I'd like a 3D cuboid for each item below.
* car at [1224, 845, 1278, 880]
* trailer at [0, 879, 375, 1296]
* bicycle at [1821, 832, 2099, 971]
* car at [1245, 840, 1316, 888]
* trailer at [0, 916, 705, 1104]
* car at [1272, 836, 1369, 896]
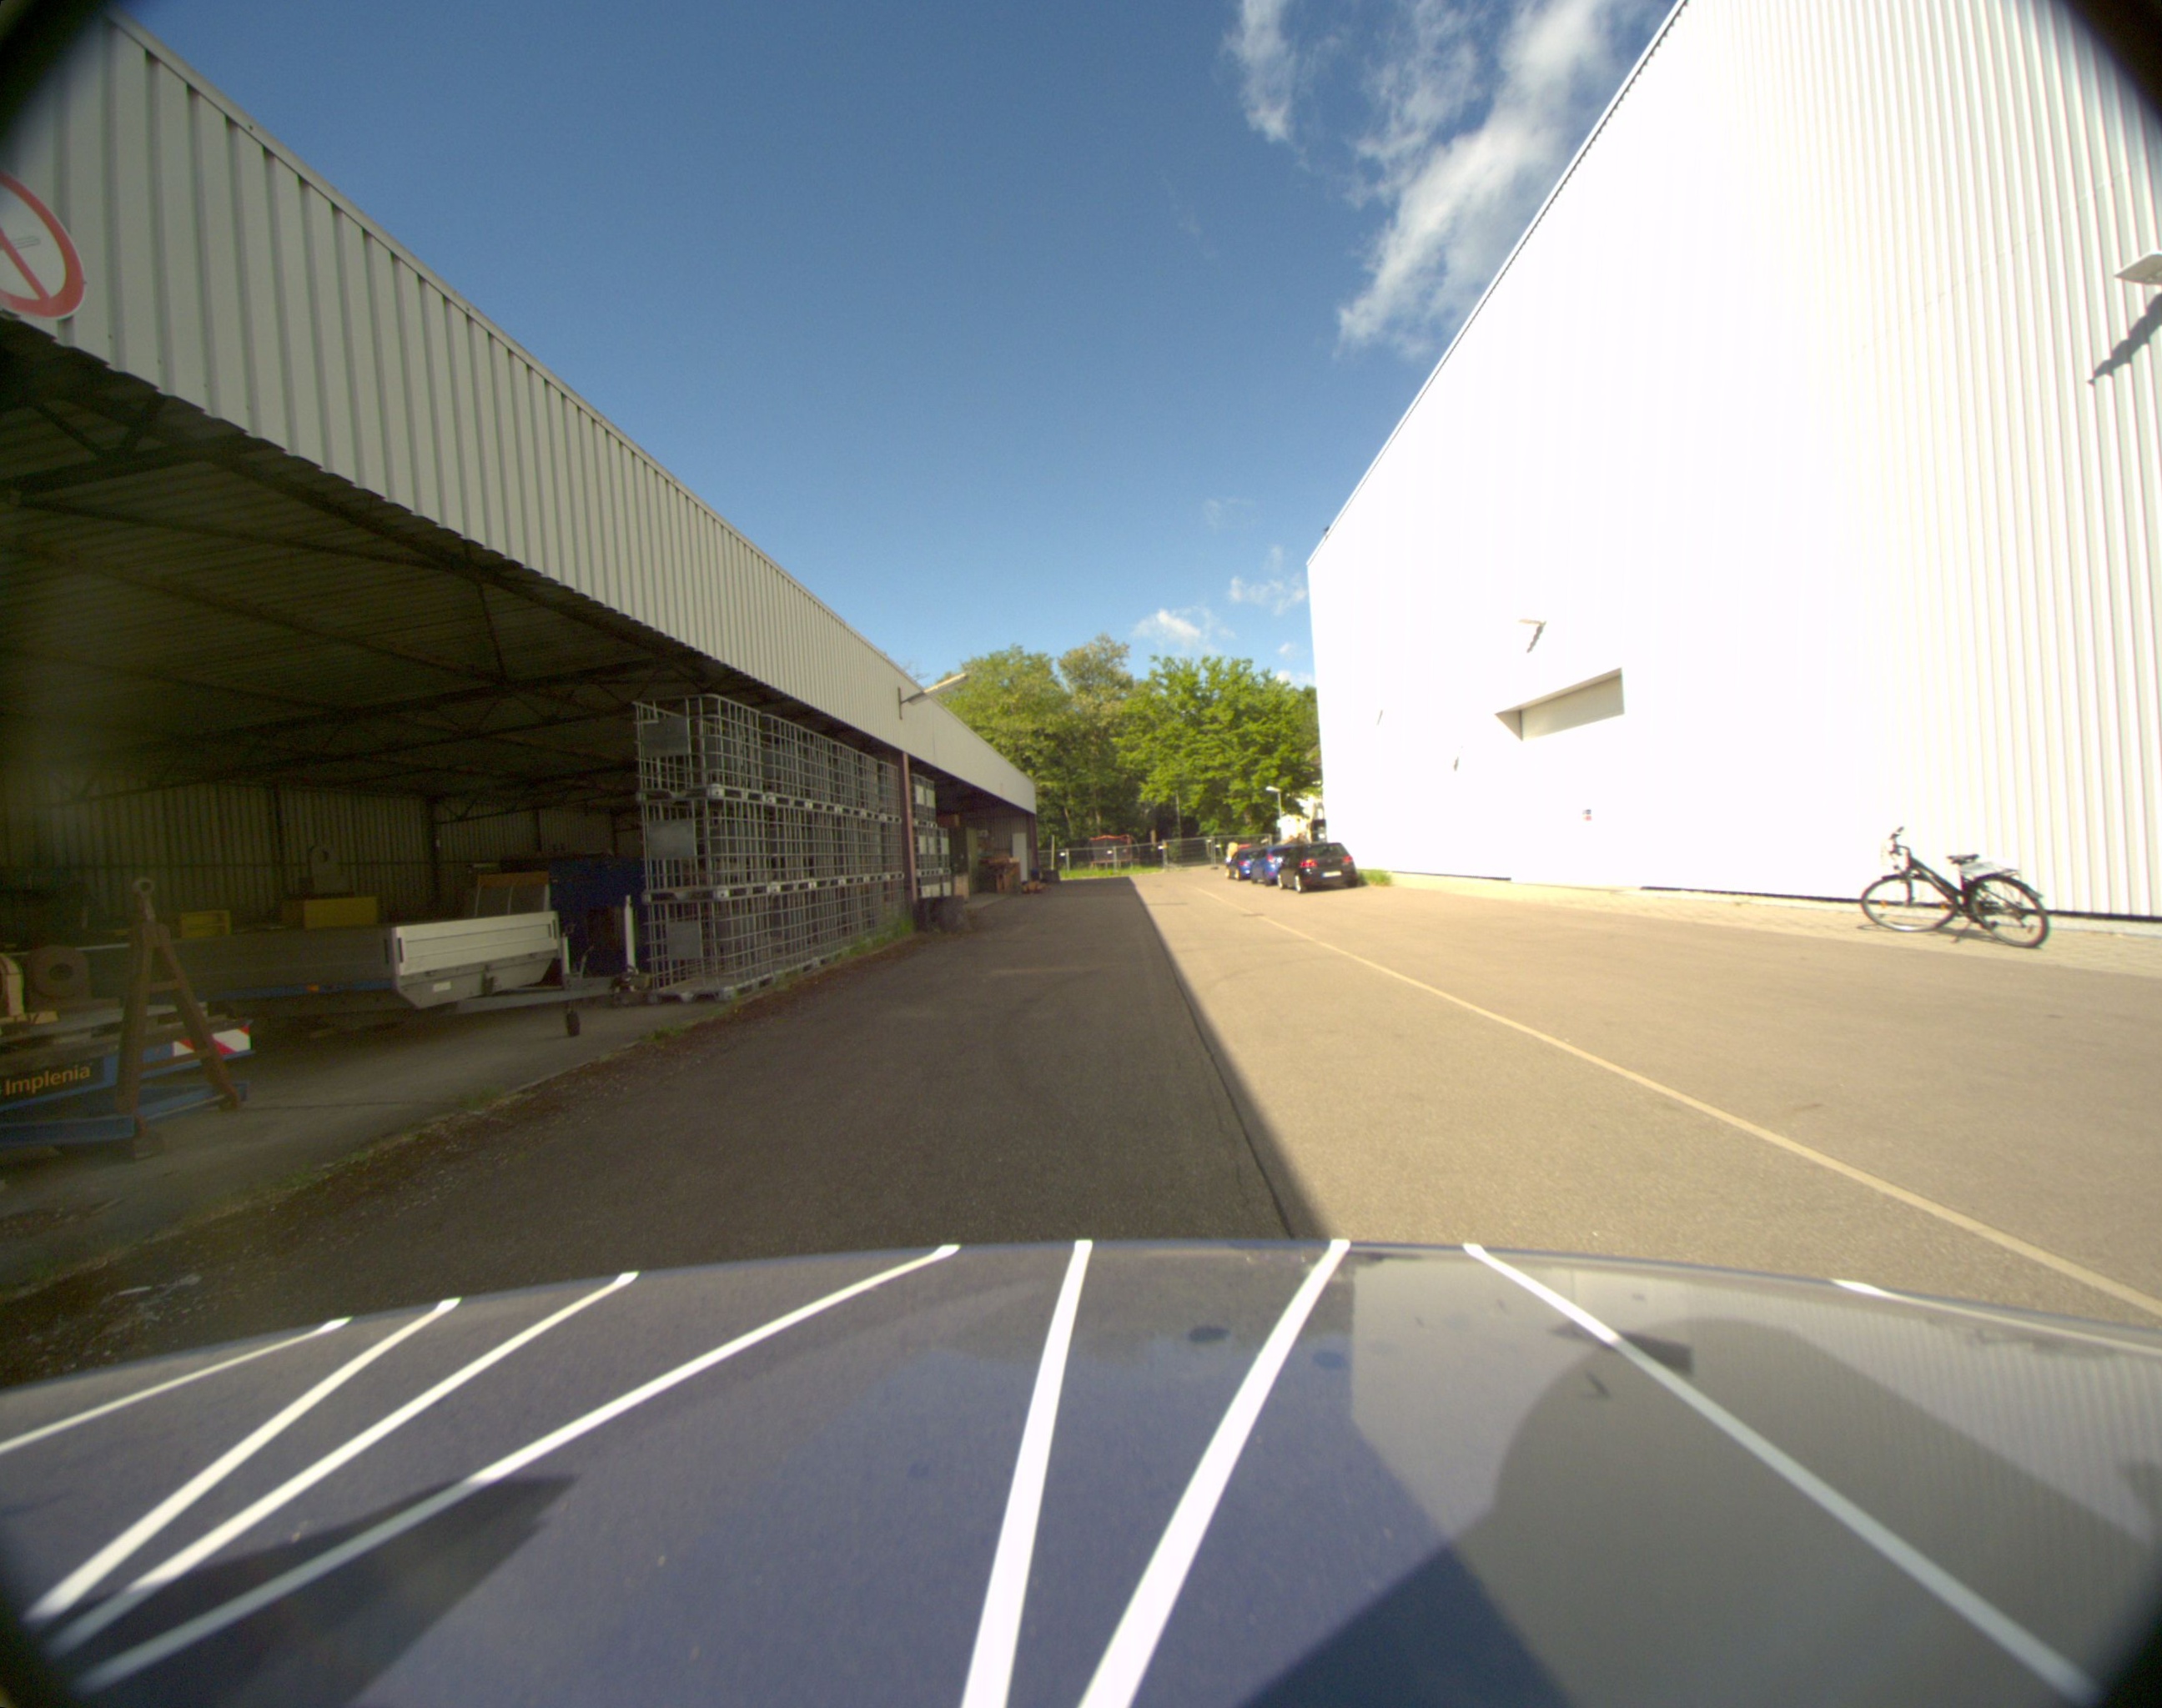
[{"bbox_3d":[7.634,0.347,34.408,1.789,1.431,4.001,-3,0,5],"label":"car"},{"bbox_3d":[-6.804,1.090,3.664,4.878,1.619,2.029,-3,1,2],"label":"trailer"},{"bbox_3d":[8.670,0.408,7.657,0.909,1.136,1.901,-7,1,18],"label":"bicycle"},{"bbox_3d":[7.481,0.333,28.907,1.789,1.513,4.001,-7,0,5],"label":"car"},{"bbox_3d":[-6.918,1.350,7.024,5.836,1.113,2.029,-3,0,2],"label":"trailer"},{"bbox_3d":[7.374,0.333,23.778,1.895,1.513,4.001,-7,0,5],"label":"car"}]
